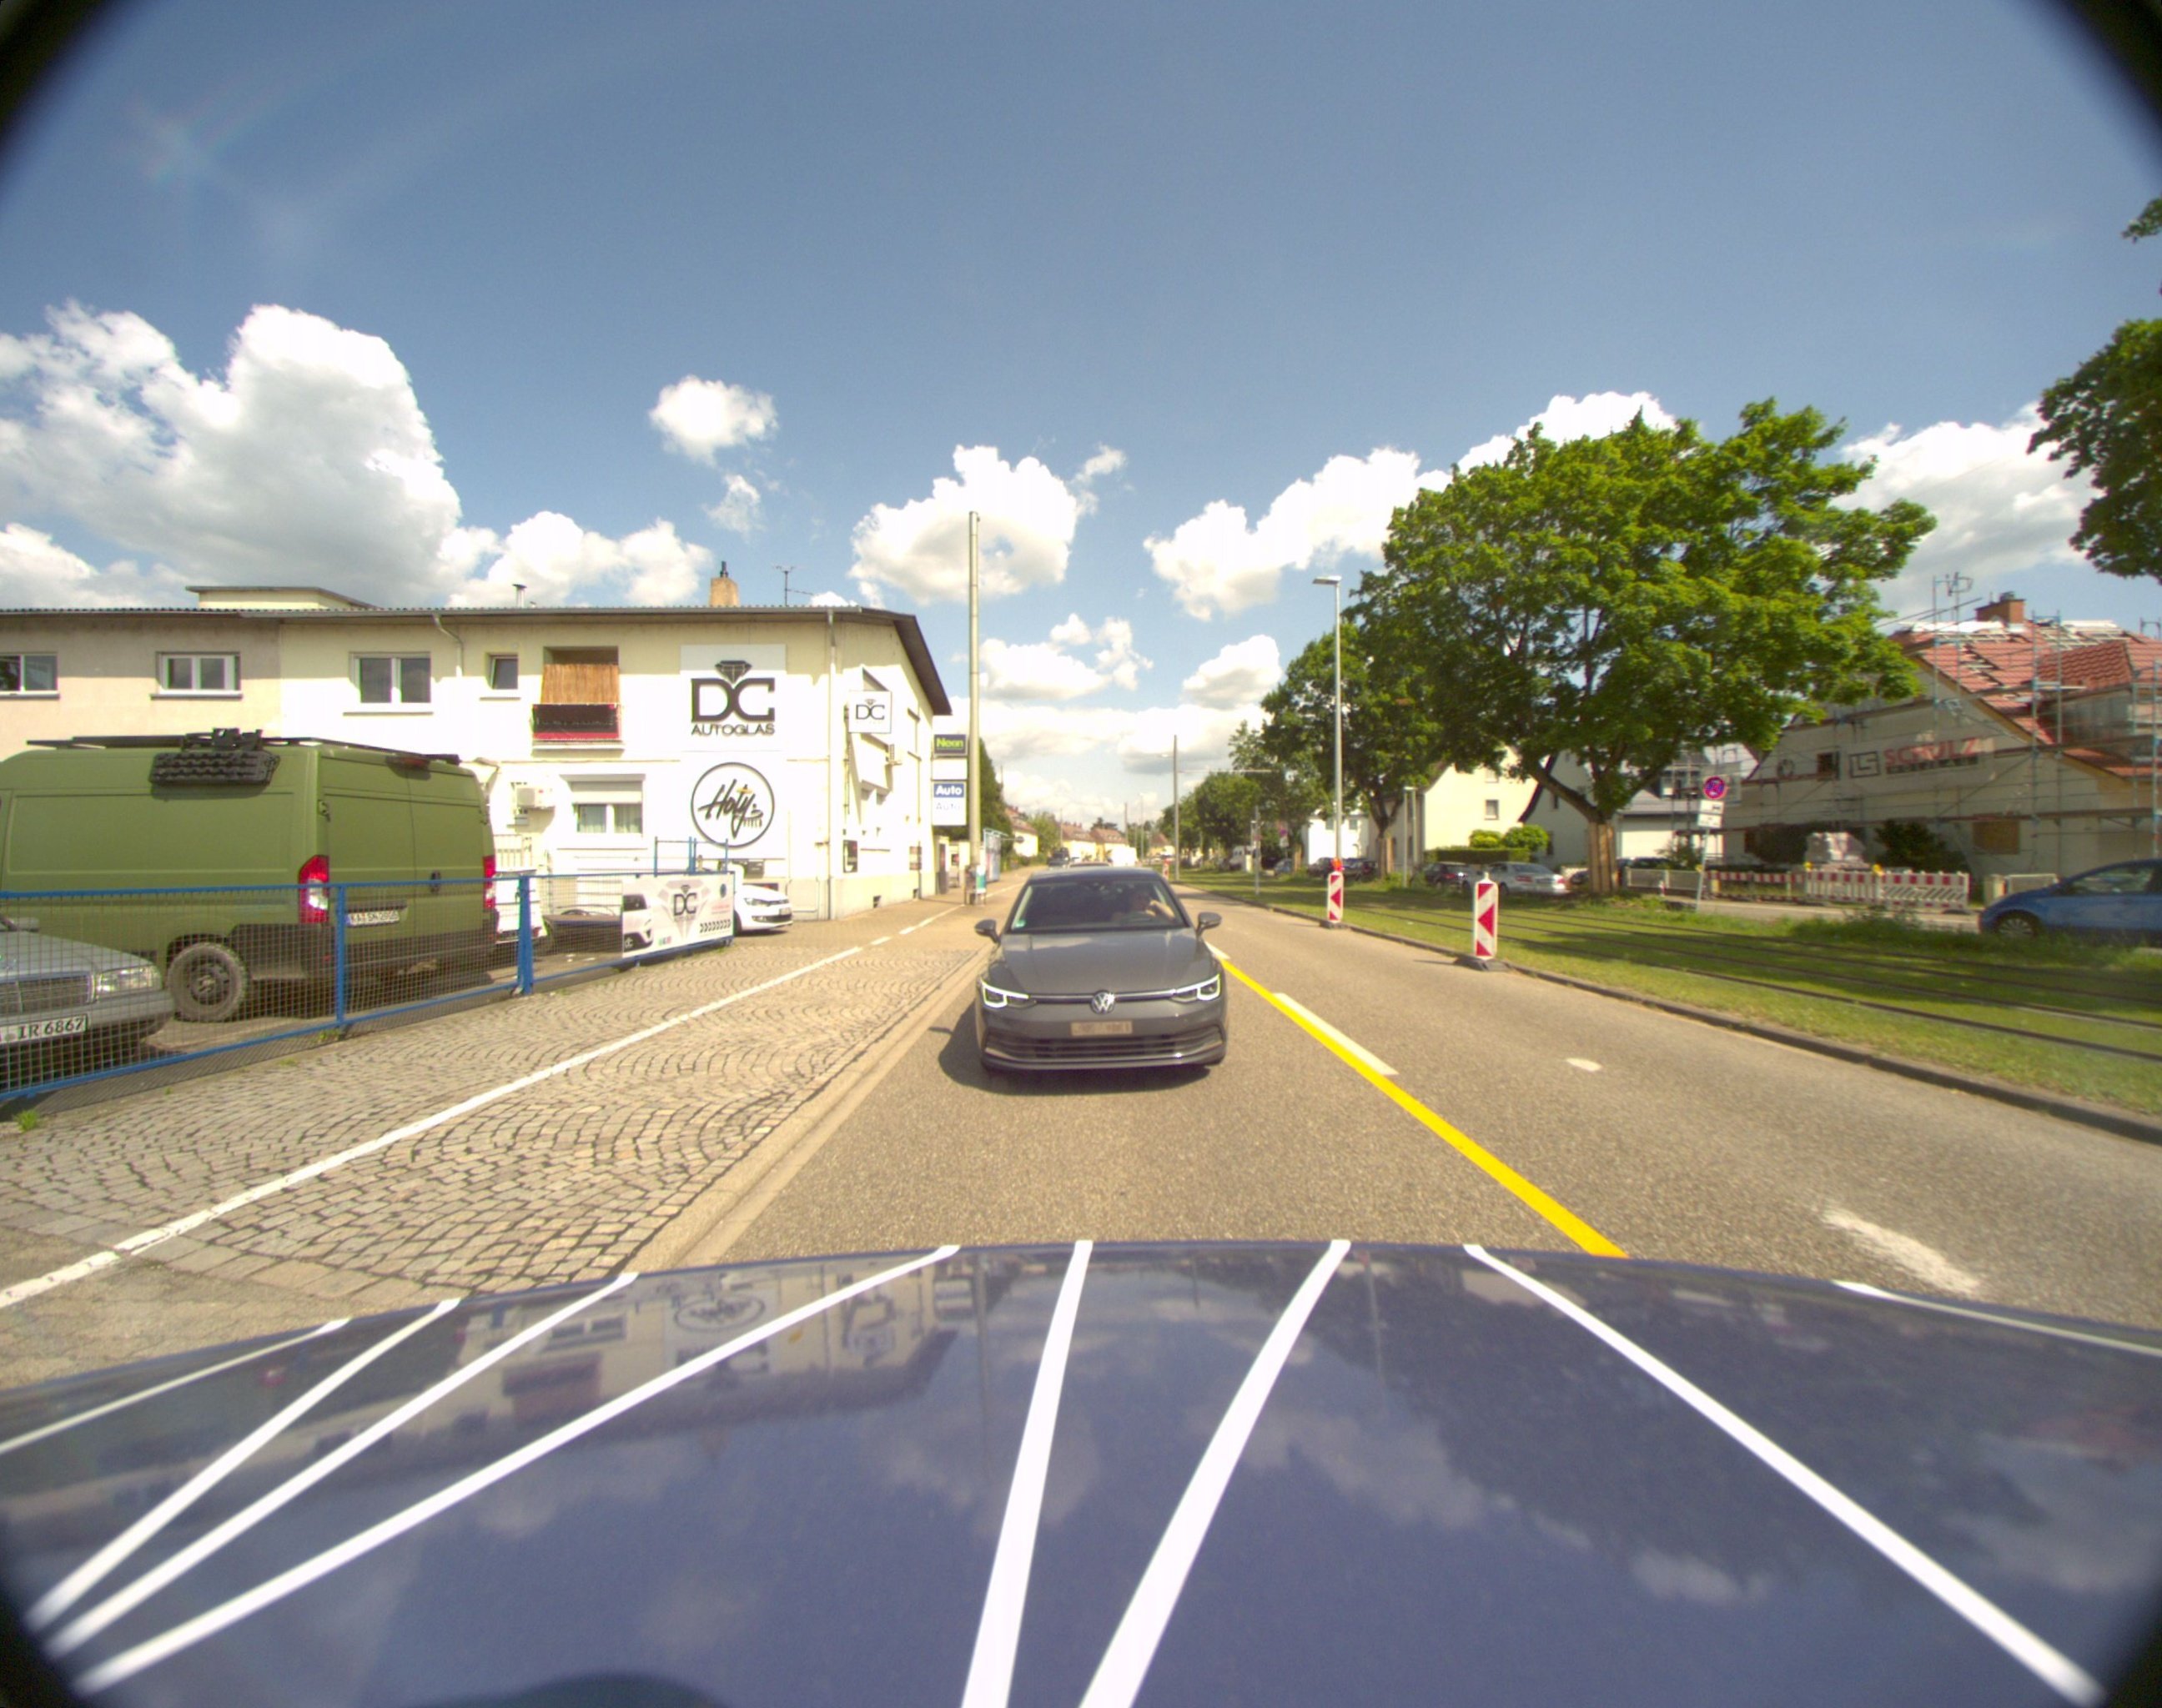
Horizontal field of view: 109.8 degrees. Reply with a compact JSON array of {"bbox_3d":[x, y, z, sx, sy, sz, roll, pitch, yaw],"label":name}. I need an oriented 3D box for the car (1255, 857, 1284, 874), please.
[{"bbox_3d":[17.644,1.079,71.327,1.702,1.477,4.407,-1,-1,1],"label":"car"}]

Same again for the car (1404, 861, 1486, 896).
[{"bbox_3d":[16.623,1.122,34.937,1.702,1.477,4.407,-1,-1,1],"label":"car"}]

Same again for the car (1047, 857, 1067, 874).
[{"bbox_3d":[-2.187,1.049,70.754,1.702,1.574,4.000,0,0,1],"label":"car"}]

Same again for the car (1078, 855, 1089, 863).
[{"bbox_3d":[0.485,0.905,146.707,1.701,1.574,4.002,0,0,6],"label":"car"}]

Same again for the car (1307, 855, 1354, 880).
[{"bbox_3d":[16.551,0.900,50.661,1.702,1.562,4.407,-1,-1,1],"label":"car"}]

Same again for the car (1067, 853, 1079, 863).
[{"bbox_3d":[-1.316,0.675,123.040,1.701,1.574,4.001,0,0,3],"label":"car"}]

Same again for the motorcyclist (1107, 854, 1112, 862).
[{"bbox_3d":[4.560,0.701,121.332,0.659,1.284,0.780,0,0,0],"label":"motorcyclist"}]

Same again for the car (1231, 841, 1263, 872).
[{"bbox_3d":[16.815,0.275,77.271,2.136,3.019,5.084,-1,-1,1],"label":"car"}]

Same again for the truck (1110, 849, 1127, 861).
[{"bbox_3d":[9.912,0.146,201.051,2.710,3.119,8.124,0,0,15],"label":"truck"}]

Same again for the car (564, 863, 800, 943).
[{"bbox_3d":[-7.664,0.918,14.818,3.775,1.454,1.555,0,0,2],"label":"car"}]

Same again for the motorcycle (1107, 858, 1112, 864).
[{"bbox_3d":[4.557,1.088,121.311,0.659,1.040,2.111,0,0,0],"label":"motorcycle"}]

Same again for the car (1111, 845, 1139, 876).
[{"bbox_3d":[3.694,0.522,64.858,2.090,2.449,5.842,2,0,2],"label":"car"}]

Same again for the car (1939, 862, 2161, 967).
[{"bbox_3d":[16.200,0.868,11.399,1.702,1.477,4.407,-1,-1,1],"label":"car"}]

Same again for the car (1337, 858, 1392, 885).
[{"bbox_3d":[16.768,1.037,45.155,1.702,1.477,4.407,-1,-1,1],"label":"car"}]

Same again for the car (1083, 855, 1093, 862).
[{"bbox_3d":[1.443,0.909,155.838,1.701,1.574,4.002,0,0,7],"label":"car"}]

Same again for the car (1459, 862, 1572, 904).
[{"bbox_3d":[16.419,1.069,28.999,1.788,1.477,4.523,-1,-1,2],"label":"car"}]

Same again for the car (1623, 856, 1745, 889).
[{"bbox_3d":[28.903,0.891,36.511,4.402,1.477,1.704,-1,-1,1],"label":"car"}]

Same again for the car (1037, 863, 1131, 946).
[{"bbox_3d":[0.077,0.942,15.813,1.702,1.477,4.000,0,0,1],"label":"car"}]

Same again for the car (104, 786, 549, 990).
[{"bbox_3d":[-9.502,0.405,9.778,4.207,2.392,1.586,0,0,2],"label":"car"}]

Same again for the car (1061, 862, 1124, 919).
[{"bbox_3d":[0.334,0.990,22.279,1.702,1.477,4.000,0,0,1],"label":"car"}]

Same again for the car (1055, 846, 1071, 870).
[{"bbox_3d":[-1.915,0.452,82.439,1.702,2.510,5.144,0,0,0],"label":"car"}]

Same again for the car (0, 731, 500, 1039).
[{"bbox_3d":[-8.728,0.273,7.610,4.207,2.627,2.113,0,0,2],"label":"car"}]

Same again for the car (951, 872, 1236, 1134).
[{"bbox_3d":[0.100,0.938,6.541,1.702,1.477,4.000,0,0,1],"label":"car"}]

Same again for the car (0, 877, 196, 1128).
[{"bbox_3d":[-8.461,0.890,4.774,4.282,1.444,1.713,0,0,8],"label":"car"}]

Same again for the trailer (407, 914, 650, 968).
[{"bbox_3d":[-8.370,1.309,11.660,2.733,0.662,1.329,0,0,-1],"label":"trailer"}]

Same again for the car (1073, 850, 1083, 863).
[{"bbox_3d":[-0.489,0.423,136.403,1.701,2.233,4.947,0,0,2],"label":"car"}]

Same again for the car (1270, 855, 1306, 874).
[{"bbox_3d":[16.642,0.877,61.281,1.702,1.477,4.407,-1,-1,1],"label":"car"}]
